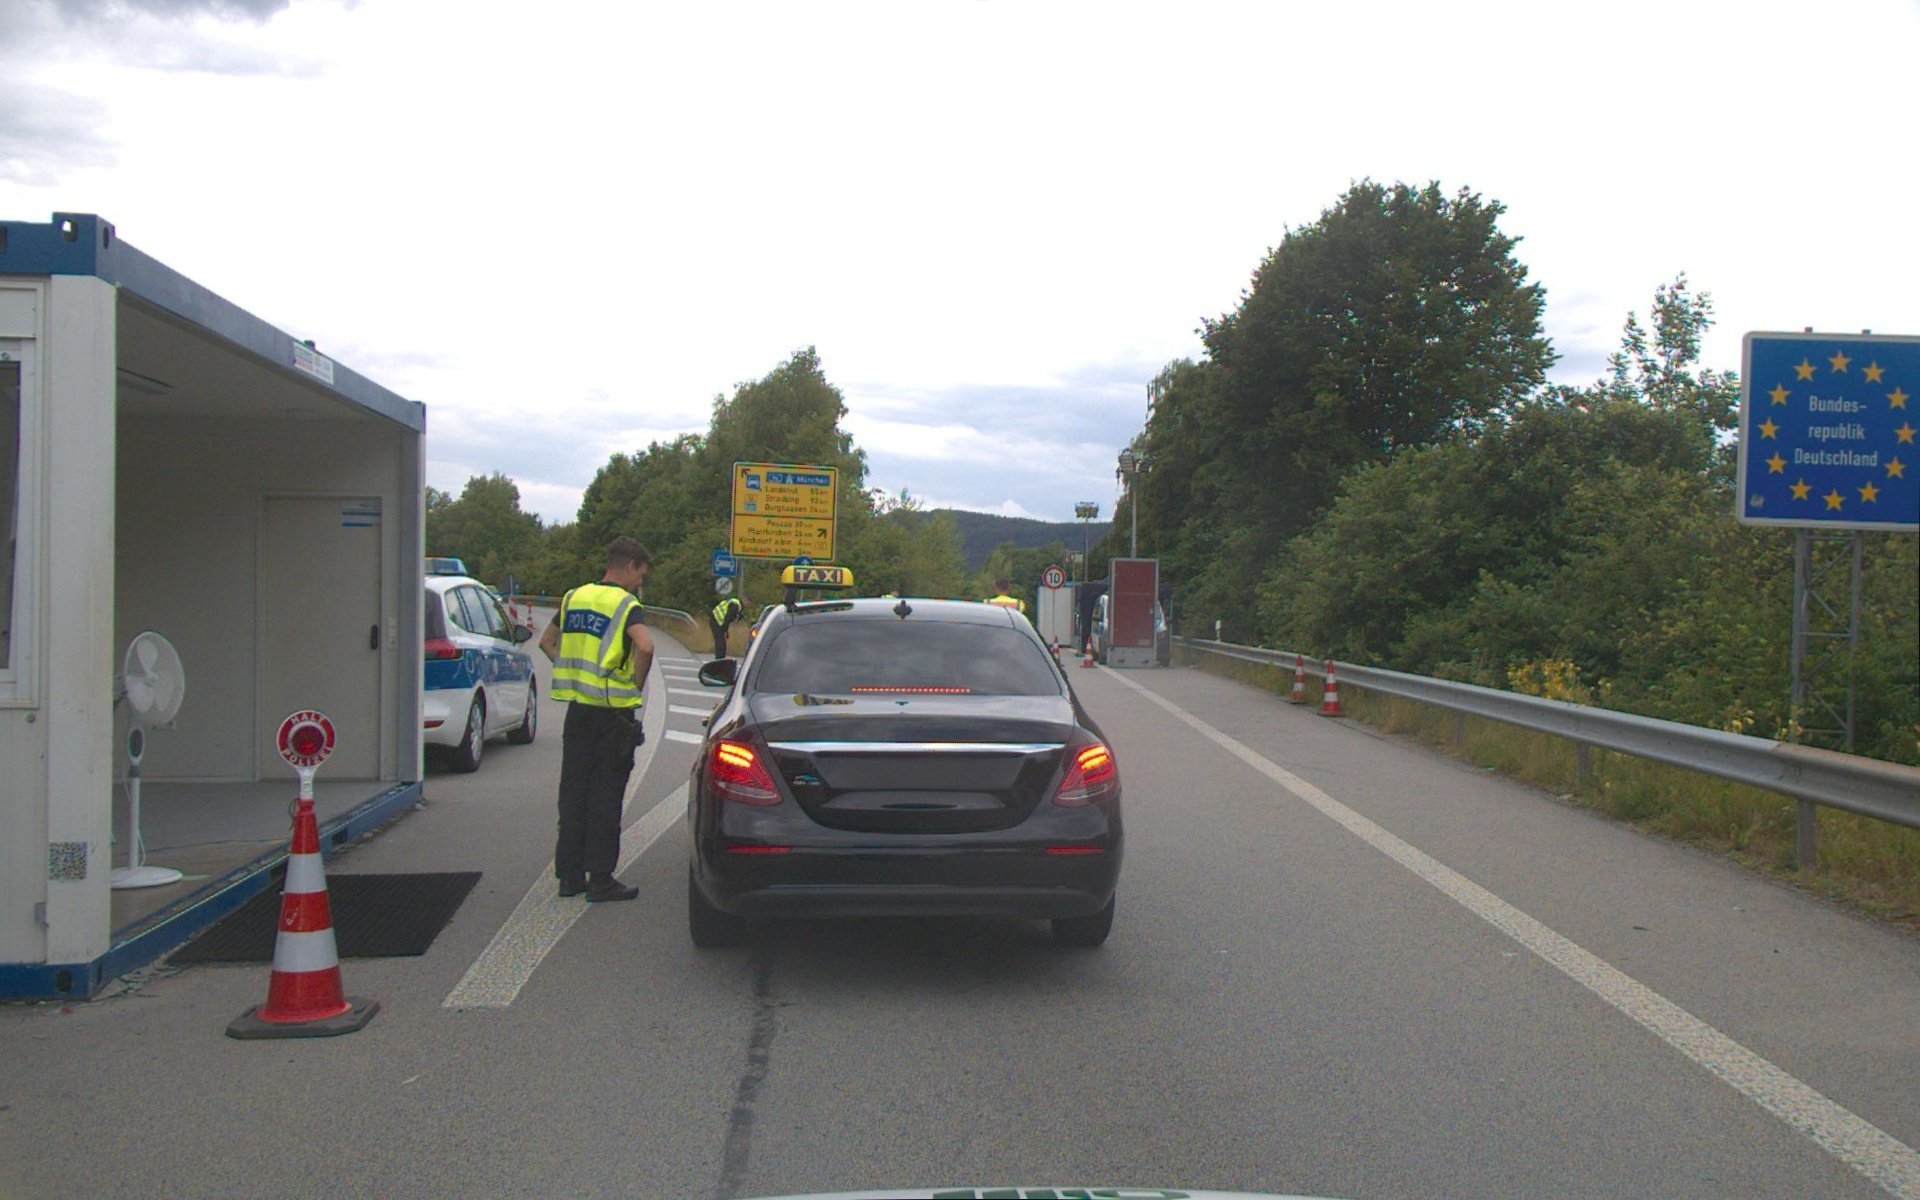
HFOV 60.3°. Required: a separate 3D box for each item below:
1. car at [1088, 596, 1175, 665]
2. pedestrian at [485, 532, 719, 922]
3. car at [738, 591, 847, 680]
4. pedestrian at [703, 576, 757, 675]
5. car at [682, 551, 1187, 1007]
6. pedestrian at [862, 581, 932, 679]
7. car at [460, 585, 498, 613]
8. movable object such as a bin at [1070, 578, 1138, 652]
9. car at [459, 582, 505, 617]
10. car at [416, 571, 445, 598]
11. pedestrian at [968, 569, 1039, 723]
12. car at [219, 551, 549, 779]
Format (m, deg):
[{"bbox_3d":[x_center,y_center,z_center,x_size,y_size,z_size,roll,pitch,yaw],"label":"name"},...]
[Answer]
[{"bbox_3d":[4.685,0.797,45.850,1.877,1.707,5.083,2,0,1],"label":"car"},{"bbox_3d":[-1.717,0.568,7.977,0.747,1.748,0.815,0,0,36],"label":"pedestrian"},{"bbox_3d":[-3.036,0.602,30.721,1.818,1.524,4.253,1,0,-4],"label":"car"},{"bbox_3d":[-4.236,0.464,30.538,0.893,1.800,0.911,1,0,-4],"label":"pedestrian"},{"bbox_3d":[-0.280,0.639,8.165,1.819,1.623,4.370,1,0,-5],"label":"car"},{"bbox_3d":[-1.123,0.529,29.538,0.900,1.727,0.903,1,-1,-32],"label":"pedestrian"},{"bbox_3d":[-26.647,-0.050,91.539,1.827,1.524,4.233,1,0,-19],"label":"car"},{"bbox_3d":[4.715,0.483,54.694,1.952,2.320,4.168,1,0,1],"label":"movable object such as a bin"},{"bbox_3d":[-21.837,-0.039,75.624,1.824,1.524,4.241,1,0,-14],"label":"car"},{"bbox_3d":[-44.445,-1.278,138.833,1.831,2.261,4.224,1,0,-24],"label":"car"},{"bbox_3d":[0.543,0.551,20.481,0.795,1.862,0.810,0,0,7],"label":"pedestrian"},{"bbox_3d":[-4.990,0.509,14.930,1.832,1.774,4.004,1,0,-5],"label":"car"}]
